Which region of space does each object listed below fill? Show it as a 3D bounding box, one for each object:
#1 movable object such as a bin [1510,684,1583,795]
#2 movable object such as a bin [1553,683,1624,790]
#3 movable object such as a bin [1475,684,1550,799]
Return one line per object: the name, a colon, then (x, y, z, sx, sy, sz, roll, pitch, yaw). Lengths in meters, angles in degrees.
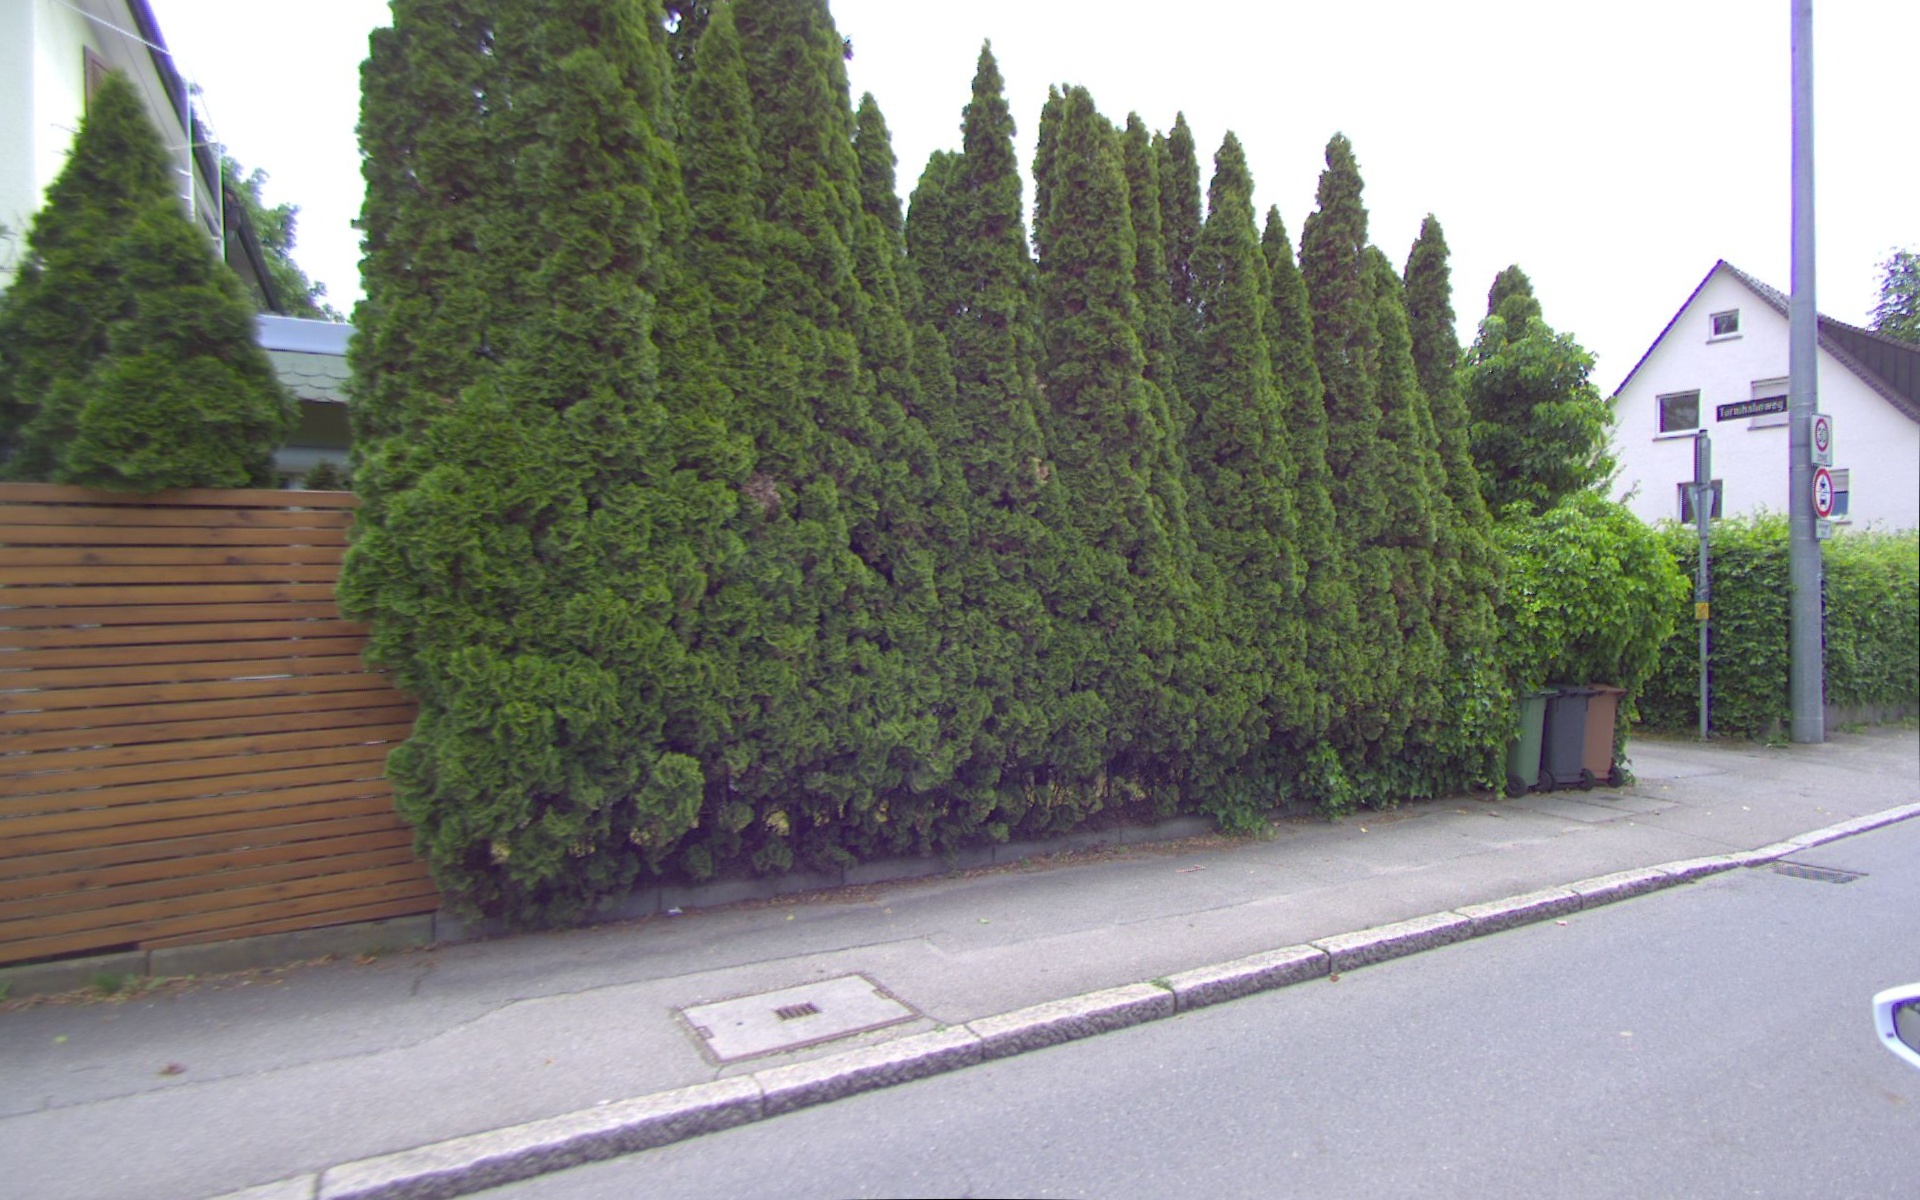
movable object such as a bin: (5.146, 1.208, 8.817, 0.470, 0.905, 0.335, 1, 1, -28)
movable object such as a bin: (5.719, 1.227, 9.147, 0.470, 0.905, 0.335, 1, 1, -28)
movable object such as a bin: (4.702, 1.192, 8.549, 0.470, 0.905, 0.335, 1, 1, -28)
